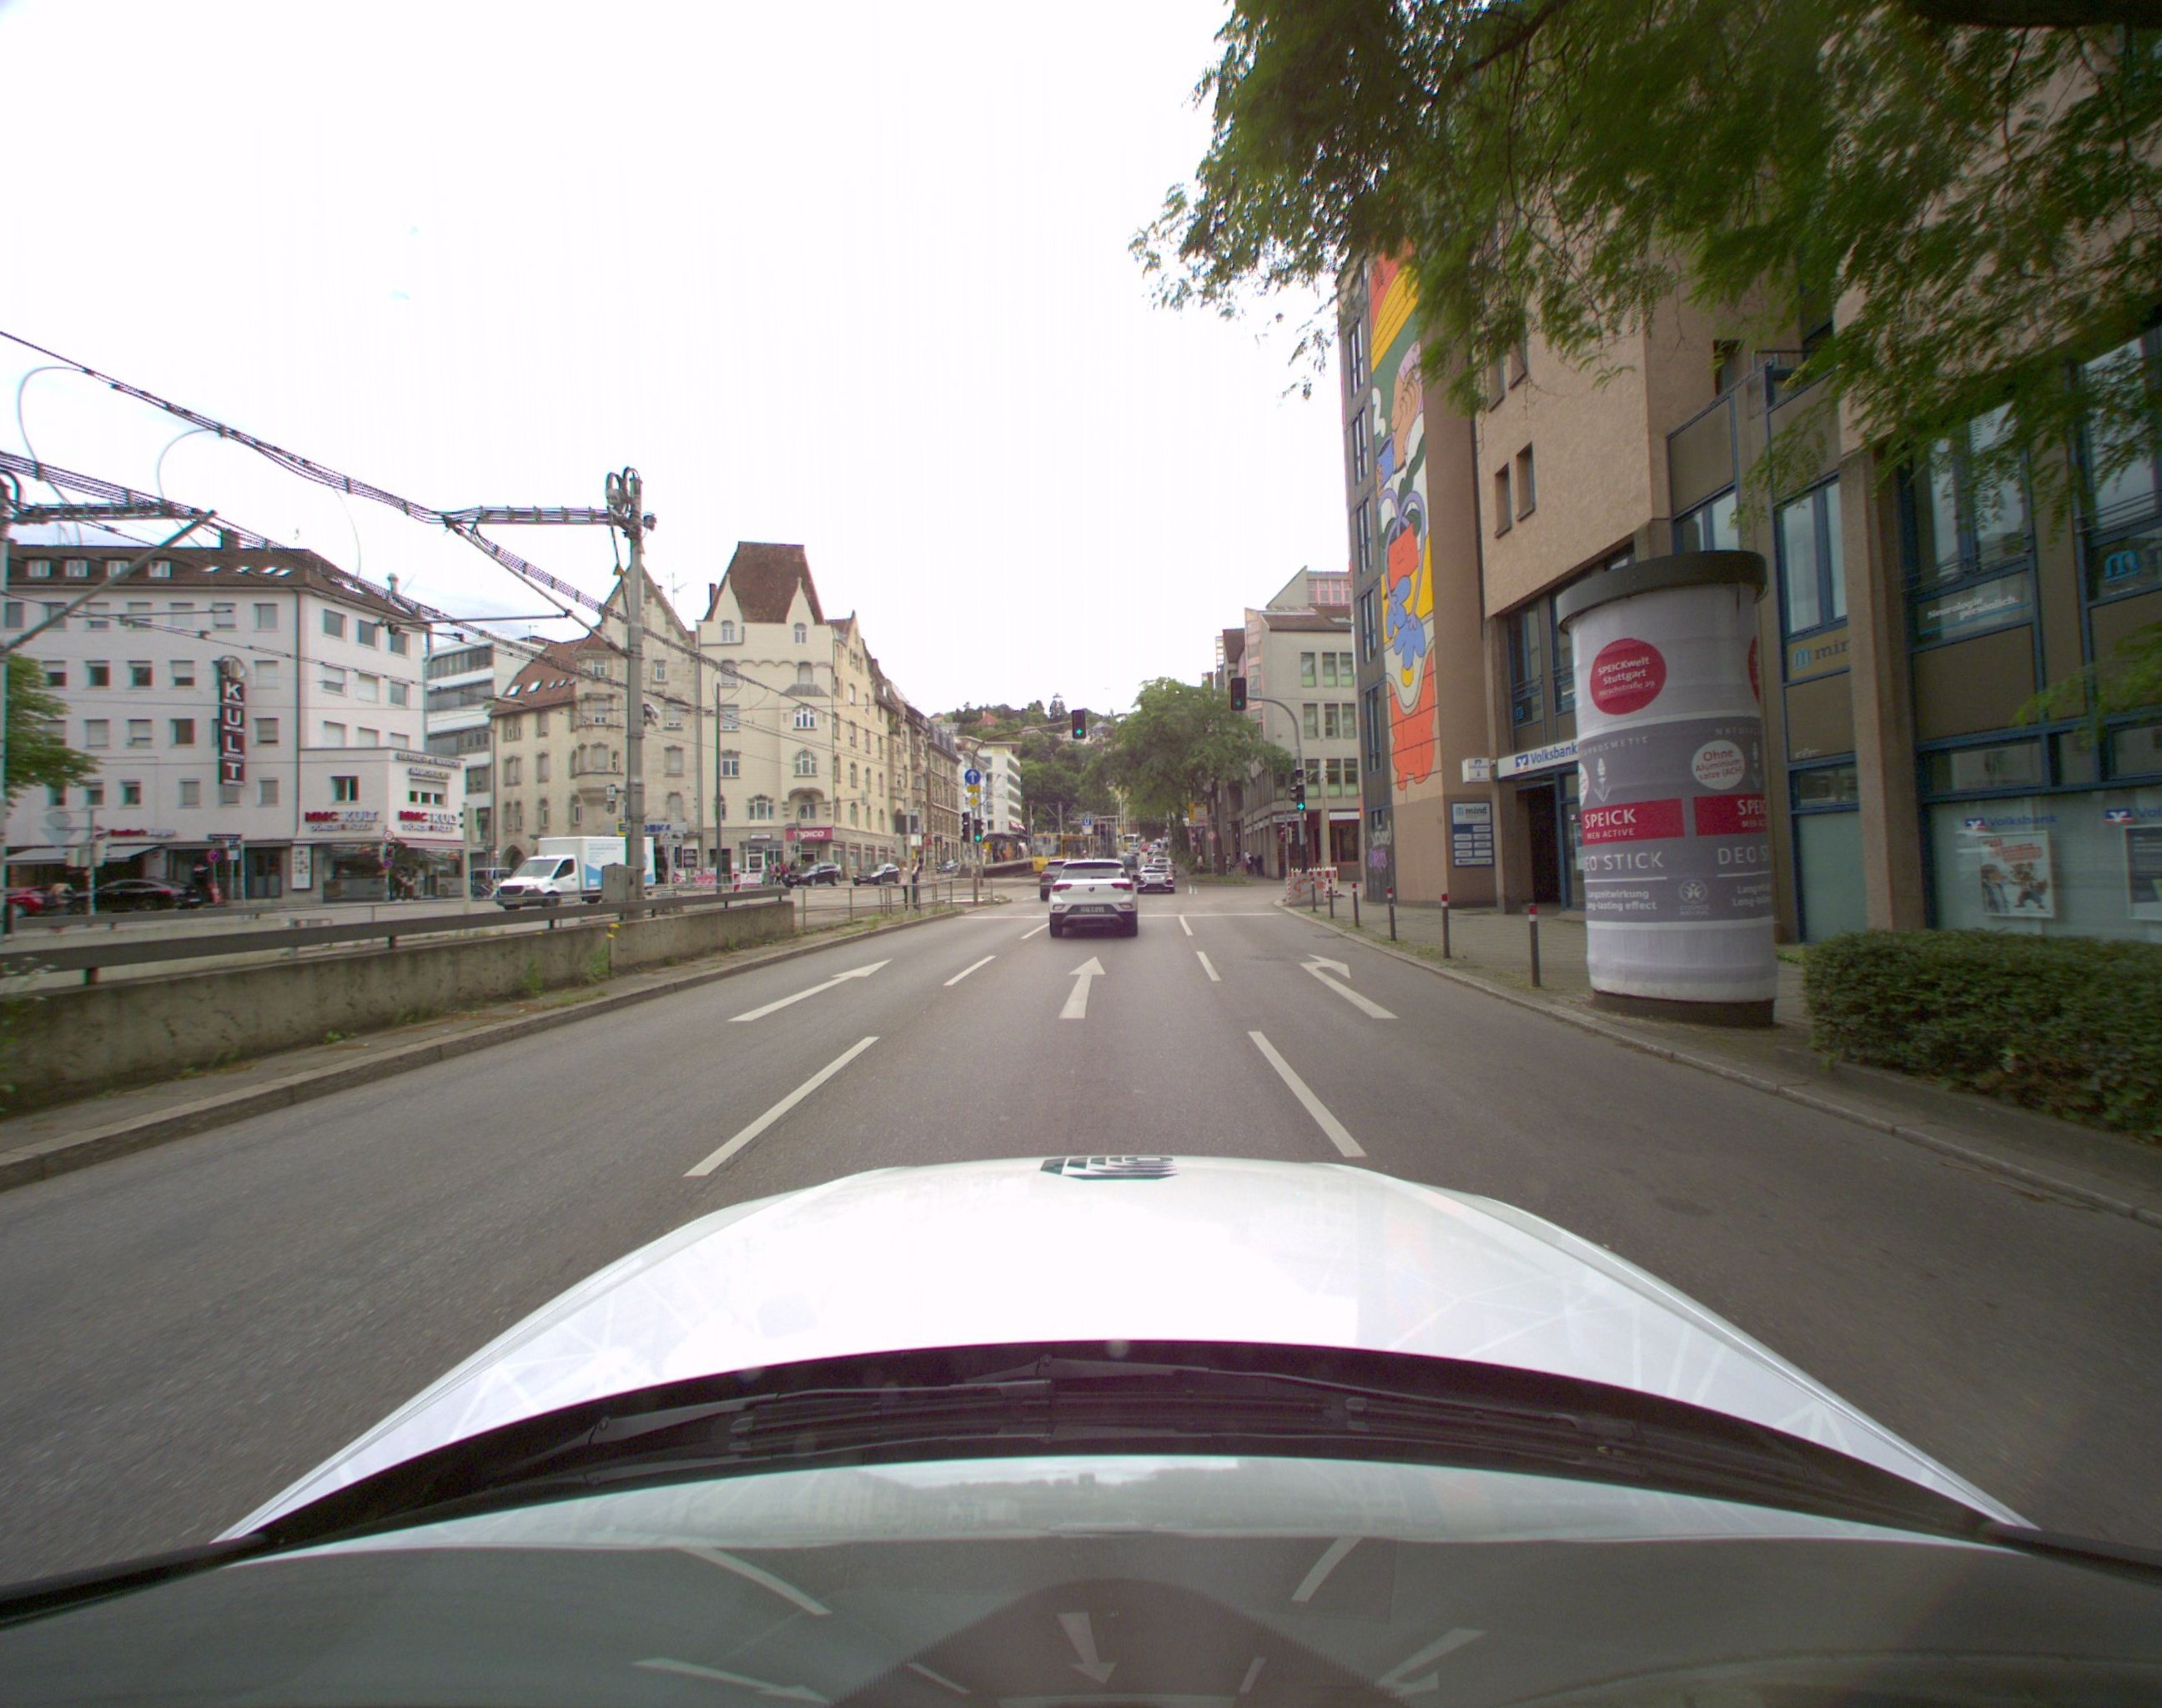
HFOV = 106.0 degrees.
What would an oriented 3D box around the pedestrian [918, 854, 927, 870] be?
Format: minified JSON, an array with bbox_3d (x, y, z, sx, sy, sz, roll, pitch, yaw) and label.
[{"bbox_3d":[-17.463,0.881,89.640,0.632,1.762,0.837,-1,-1,-38],"label":"pedestrian"}]

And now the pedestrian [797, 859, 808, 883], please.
[{"bbox_3d":[-20.731,1.268,60.580,0.505,1.780,0.580,-2,-1,35],"label":"pedestrian"}]

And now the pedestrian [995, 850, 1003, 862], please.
[{"bbox_3d":[-8.056,0.201,80.049,0.632,1.107,0.691,-1,0,4],"label":"pedestrian"}]

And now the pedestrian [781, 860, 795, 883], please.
[{"bbox_3d":[-22.153,1.317,61.558,0.777,1.705,0.655,-1,0,10],"label":"pedestrian"}]

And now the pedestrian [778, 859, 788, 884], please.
[{"bbox_3d":[-21.908,1.286,59.877,0.507,1.780,0.578,-1,0,7],"label":"pedestrian"}]

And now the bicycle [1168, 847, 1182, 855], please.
[{"bbox_3d":[13.744,-0.391,119.102,1.869,1.137,0.810,0,-1,10],"label":"bicycle"}]

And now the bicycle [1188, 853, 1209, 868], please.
[{"bbox_3d":[10.172,0.594,70.403,1.703,1.184,0.448,-3,0,-3],"label":"bicycle"}]

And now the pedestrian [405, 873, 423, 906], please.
[{"bbox_3d":[-36.486,1.960,44.560,0.506,1.780,0.579,-1,-1,17],"label":"pedestrian"}]

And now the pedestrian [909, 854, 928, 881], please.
[{"bbox_3d":[-10.583,0.872,53.105,0.866,1.705,0.817,-2,-1,34],"label":"pedestrian"}]

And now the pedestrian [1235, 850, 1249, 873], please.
[{"bbox_3d":[11.302,0.532,57.190,0.833,1.563,0.764,0,-1,0],"label":"pedestrian"}]

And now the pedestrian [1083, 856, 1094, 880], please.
[{"bbox_3d":[0.547,1.015,59.205,0.632,1.711,0.873,-1,0,5],"label":"pedestrian"}]

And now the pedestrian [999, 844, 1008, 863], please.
[{"bbox_3d":[-7.314,-0.089,76.845,0.623,1.762,0.848,-1,0,6],"label":"pedestrian"}]

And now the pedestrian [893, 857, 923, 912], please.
[{"bbox_3d":[-5.539,0.958,26.115,0.761,1.721,0.638,-1,0,4],"label":"pedestrian"}]

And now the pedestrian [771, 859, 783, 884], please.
[{"bbox_3d":[-22.095,1.275,59.221,0.506,1.780,0.579,-1,-1,11],"label":"pedestrian"}]

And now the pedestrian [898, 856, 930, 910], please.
[{"bbox_3d":[-5.484,0.933,26.756,0.788,1.721,0.773,-1,0,4],"label":"pedestrian"}]

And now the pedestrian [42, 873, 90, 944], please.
[{"bbox_3d":[-26.007,1.388,20.876,0.507,1.780,0.578,-1,0,7],"label":"pedestrian"}]

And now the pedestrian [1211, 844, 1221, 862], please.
[{"bbox_3d":[13.693,-0.084,82.715,0.759,1.782,0.848,-3,2,0],"label":"pedestrian"}]

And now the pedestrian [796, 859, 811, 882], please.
[{"bbox_3d":[-20.675,1.244,60.608,0.777,1.705,0.725,-1,0,10],"label":"pedestrian"}]

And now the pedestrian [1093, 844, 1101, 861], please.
[{"bbox_3d":[1.650,-0.195,83.603,0.714,1.731,0.672,0,-1,6],"label":"pedestrian"}]

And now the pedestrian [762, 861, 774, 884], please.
[{"bbox_3d":[-22.214,1.290,57.757,0.572,1.582,0.512,-1,-1,5],"label":"pedestrian"}]

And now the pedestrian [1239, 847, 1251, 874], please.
[{"bbox_3d":[11.680,0.464,58.016,0.731,1.874,0.733,-1,-1,0],"label":"pedestrian"}]

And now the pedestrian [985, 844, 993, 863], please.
[{"bbox_3d":[-8.504,-0.024,75.530,0.634,1.711,0.689,-1,0,-4],"label":"pedestrian"}]

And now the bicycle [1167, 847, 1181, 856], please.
[{"bbox_3d":[13.446,-0.305,117.625,1.867,1.266,0.767,-1,-1,15],"label":"bicycle"}]

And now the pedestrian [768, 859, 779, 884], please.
[{"bbox_3d":[-22.122,1.228,58.603,0.571,1.780,0.513,-1,-1,10],"label":"pedestrian"}]

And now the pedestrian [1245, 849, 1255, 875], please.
[{"bbox_3d":[11.884,0.560,57.192,0.516,1.789,0.764,0,-1,1],"label":"pedestrian"}]

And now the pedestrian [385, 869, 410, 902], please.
[{"bbox_3d":[-36.903,1.697,43.966,0.777,1.705,0.655,-1,0,10],"label":"pedestrian"}]

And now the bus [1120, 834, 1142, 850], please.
[{"bbox_3d":[10.168,-2.354,165.029,3.353,3.065,13.355,0,0,8],"label":"bus"}]

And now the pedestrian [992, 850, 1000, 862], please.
[{"bbox_3d":[-8.210,0.223,78.488,0.632,1.107,0.691,-1,0,4],"label":"pedestrian"}]

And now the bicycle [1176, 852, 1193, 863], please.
[{"bbox_3d":[10.896,0.372,85.710,1.611,1.128,0.615,-4,0,8],"label":"bicycle"}]

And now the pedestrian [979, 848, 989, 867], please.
[{"bbox_3d":[-8.509,0.298,71.359,0.685,1.711,0.662,-1,0,4],"label":"pedestrian"}]

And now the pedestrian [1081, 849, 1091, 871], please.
[{"bbox_3d":[0.369,0.480,63.660,0.682,1.711,0.713,-1,0,4],"label":"pedestrian"}]

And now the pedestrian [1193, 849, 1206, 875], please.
[{"bbox_3d":[8.695,0.583,59.868,0.691,1.777,0.689,-6,0,0],"label":"pedestrian"}]
